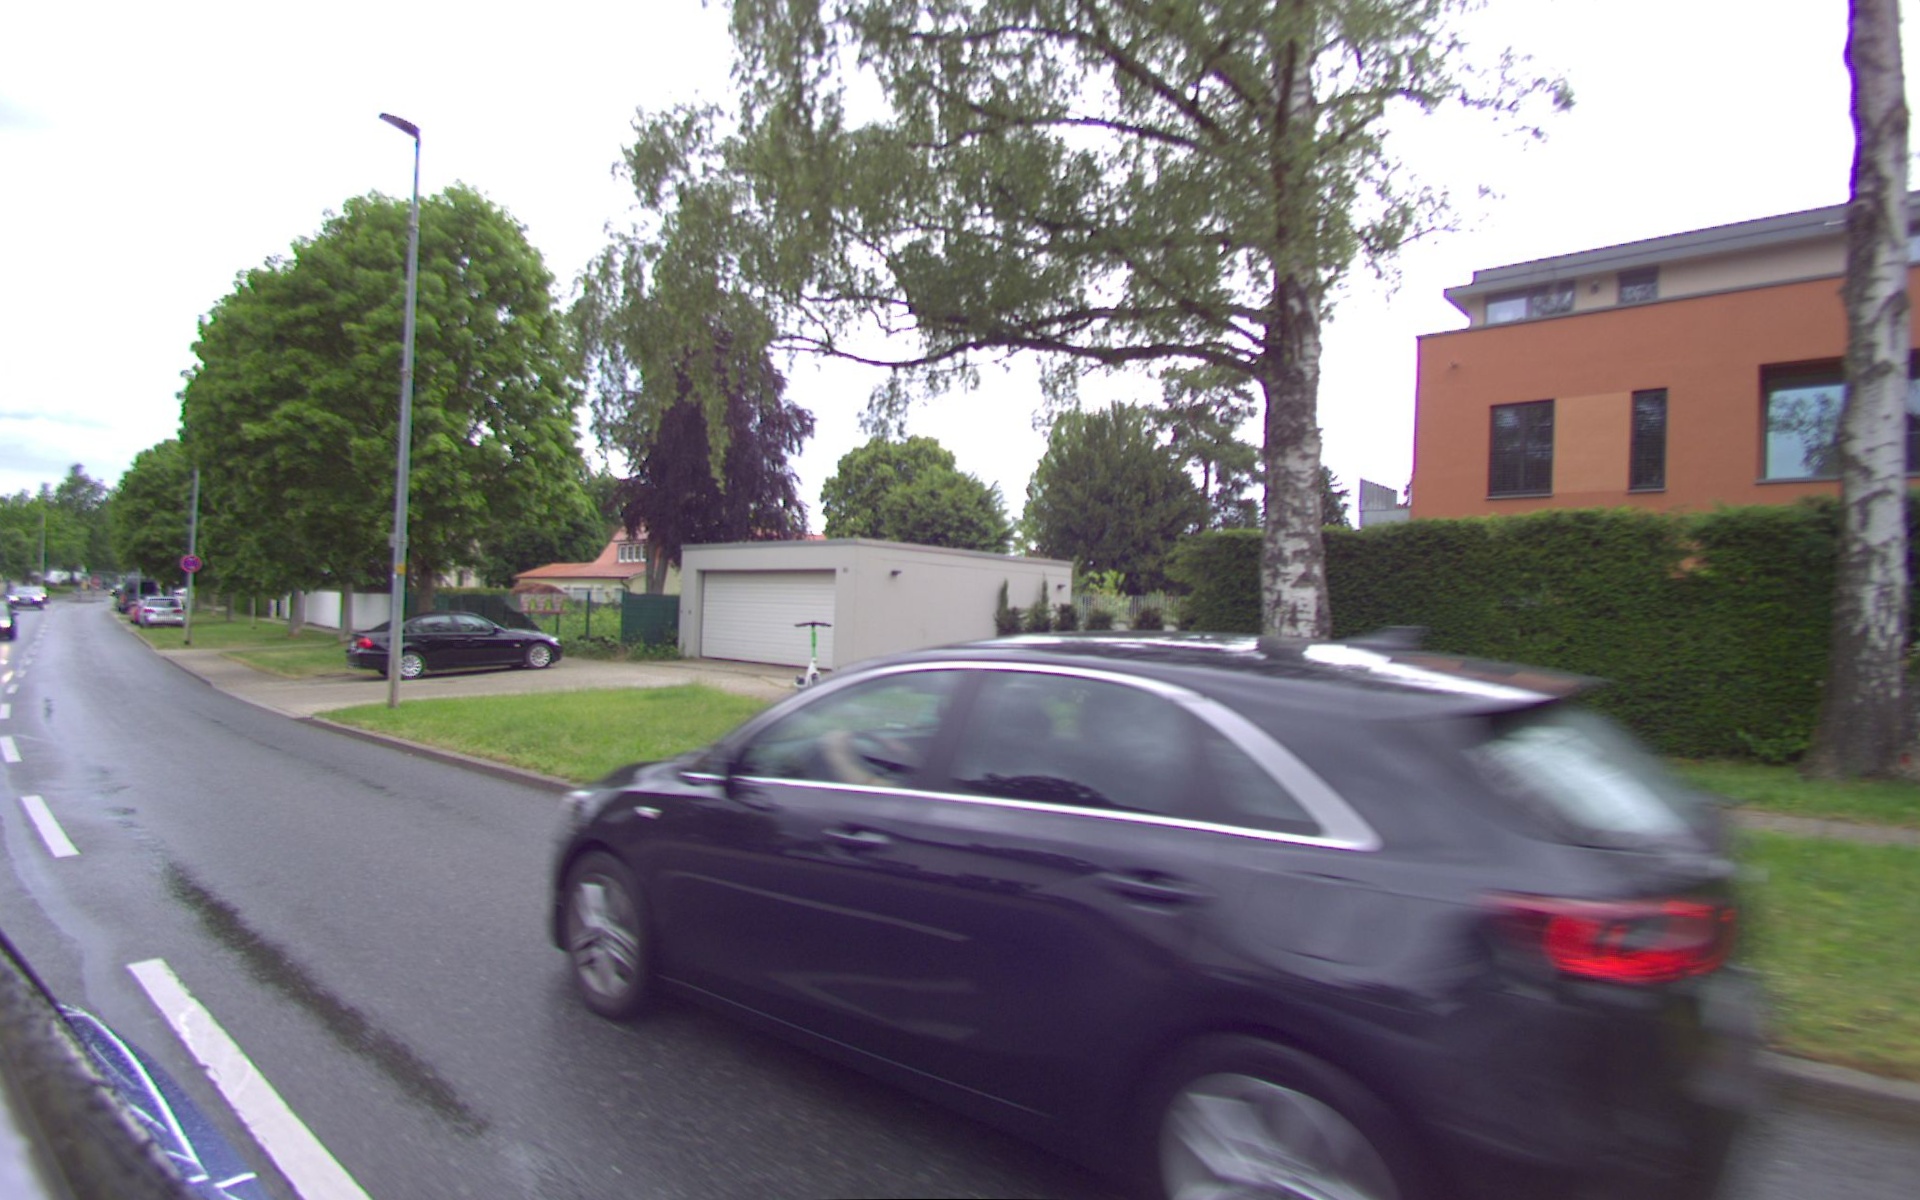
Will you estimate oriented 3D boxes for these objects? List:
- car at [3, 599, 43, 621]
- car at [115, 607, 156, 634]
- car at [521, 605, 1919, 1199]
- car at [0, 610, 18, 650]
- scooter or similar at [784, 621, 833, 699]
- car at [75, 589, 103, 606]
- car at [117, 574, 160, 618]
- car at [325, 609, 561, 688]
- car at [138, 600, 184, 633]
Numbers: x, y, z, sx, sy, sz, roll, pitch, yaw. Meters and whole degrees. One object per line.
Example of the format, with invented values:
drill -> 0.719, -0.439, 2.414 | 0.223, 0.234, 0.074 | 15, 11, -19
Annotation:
car -> -67.098, 0.720, 72.515 | 1.867, 1.552, 4.006 | 0, 0, -40
car -> -44.978, 1.102, 55.242 | 1.680, 1.334, 3.850 | -1, 1, -39
car -> 0.382, 0.780, 3.292 | 4.155, 1.452, 1.736 | -2, -1, 42
car -> -38.781, 1.187, 40.247 | 1.821, 1.552, 4.002 | 0, -1, -45
scooter or similar -> -2.430, 0.929, 16.144 | 0.418, 1.167, 1.495 | -1, -1, -23
car -> -83.106, -0.238, 96.582 | 1.866, 1.552, 4.008 | 0, 0, -39
car -> -56.140, -0.291, 69.186 | 2.214, 2.860, 5.054 | 0, 1, -39
car -> -11.487, 1.005, 22.664 | 4.375, 1.428, 1.758 | -2, 1, -43
car -> -40.900, 0.821, 51.753 | 1.748, 1.619, 4.007 | 2, -1, -39
